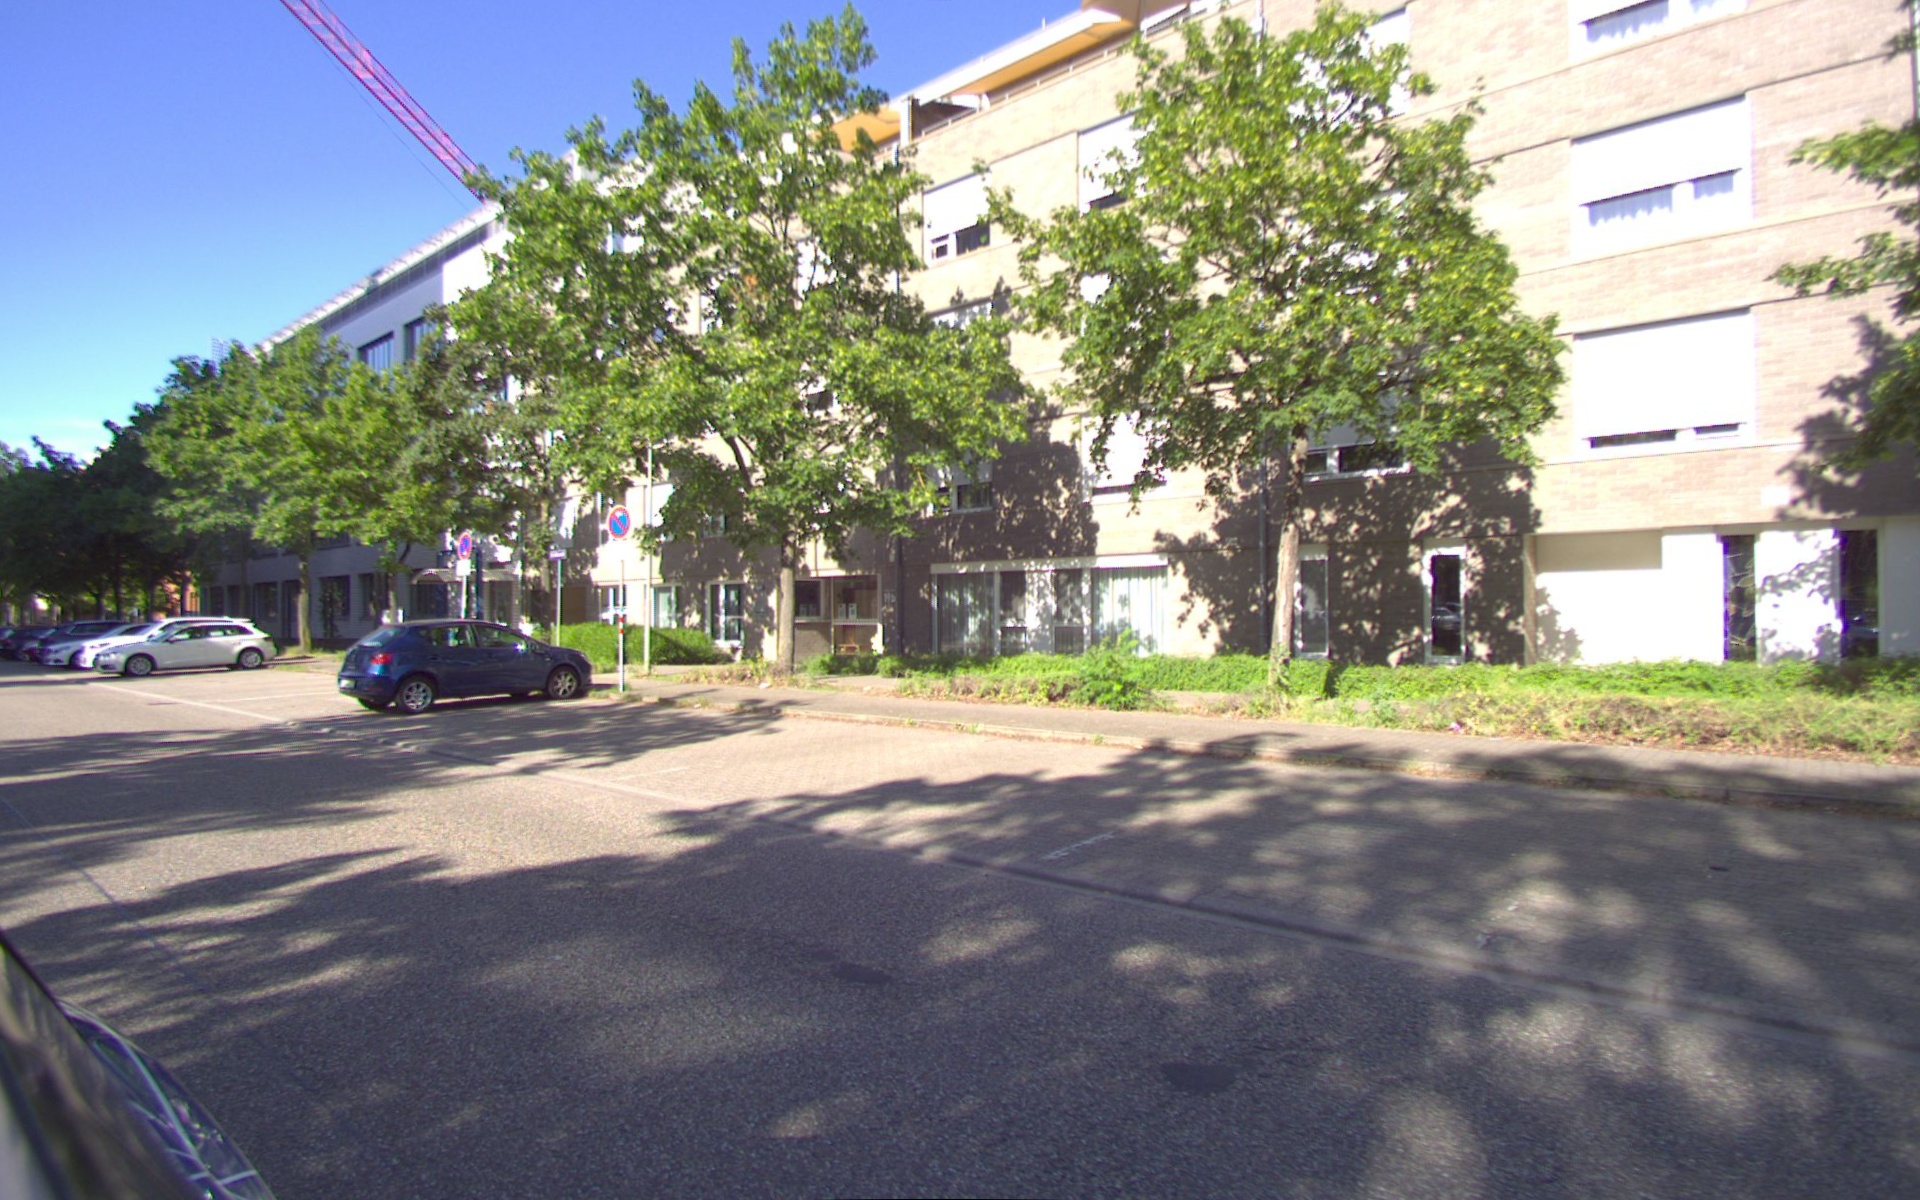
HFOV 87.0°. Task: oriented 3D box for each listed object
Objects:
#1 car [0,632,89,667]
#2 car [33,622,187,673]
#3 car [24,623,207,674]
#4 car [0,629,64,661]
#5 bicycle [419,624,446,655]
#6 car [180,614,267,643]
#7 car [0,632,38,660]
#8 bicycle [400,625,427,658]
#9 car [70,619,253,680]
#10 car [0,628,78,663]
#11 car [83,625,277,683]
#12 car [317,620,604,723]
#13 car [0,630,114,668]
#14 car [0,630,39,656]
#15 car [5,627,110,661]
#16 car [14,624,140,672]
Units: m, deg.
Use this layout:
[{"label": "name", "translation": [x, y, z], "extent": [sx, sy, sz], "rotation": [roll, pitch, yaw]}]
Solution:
[{"label": "car", "translation": [-42.035, 2.221, 46.007], "extent": [1.656, 1.447, 3.494], "rotation": [-1, -1, 39]}, {"label": "car", "translation": [-30.788, 1.676, 36.731], "extent": [1.803, 1.632, 4.069], "rotation": [-2, 0, 42]}, {"label": "car", "translation": [-28.709, 1.616, 34.541], "extent": [1.938, 1.462, 4.468], "rotation": [-2, 0, 36]}, {"label": "car", "translation": [-47.513, 2.262, 50.867], "extent": [1.645, 1.517, 3.494], "rotation": [-1, -1, 39]}, {"label": "bicycle", "translation": [-20.289, 1.506, 38.898], "extent": [1.627, 1.184, 0.334], "rotation": [-1, -1, 41]}, {"label": "car", "translation": [-58.322, 2.201, 80.187], "extent": [1.930, 2.114, 5.263], "rotation": [-1, -1, 38]}, {"label": "car", "translation": [-51.139, 2.470, 53.872], "extent": [1.388, 1.454, 2.895], "rotation": [-1, -1, 40]}, {"label": "bicycle", "translation": [-20.437, 1.545, 37.857], "extent": [1.627, 1.184, 0.334], "rotation": [-1, -1, 41]}, {"label": "car", "translation": [-24.782, 1.473, 31.509], "extent": [1.952, 1.614, 4.181], "rotation": [-1, 1, 41]}, {"label": "car", "translation": [-45.489, 2.209, 49.385], "extent": [1.656, 1.541, 3.483], "rotation": [-1, -1, 39]}, {"label": "car", "translation": [-22.545, 1.506, 29.382], "extent": [1.799, 1.491, 4.215], "rotation": [-2, -1, 40]}, {"label": "car", "translation": [-8.245, 1.095, 17.010], "extent": [1.814, 1.422, 3.950], "rotation": [-1, 0, 37]}, {"label": "car", "translation": [-39.555, 2.111, 44.144], "extent": [1.686, 1.424, 3.784], "rotation": [-3, -1, 39]}, {"label": "car", "translation": [-57.948, 2.617, 60.879], "extent": [1.616, 1.519, 3.585], "rotation": [-1, -1, 39]}, {"label": "car", "translation": [-43.252, 2.084, 48.547], "extent": [1.655, 1.456, 3.497], "rotation": [-1, -1, 37]}, {"label": "car", "translation": [-34.322, 1.827, 39.390], "extent": [1.655, 1.681, 3.533], "rotation": [-2, 0, 43]}]
